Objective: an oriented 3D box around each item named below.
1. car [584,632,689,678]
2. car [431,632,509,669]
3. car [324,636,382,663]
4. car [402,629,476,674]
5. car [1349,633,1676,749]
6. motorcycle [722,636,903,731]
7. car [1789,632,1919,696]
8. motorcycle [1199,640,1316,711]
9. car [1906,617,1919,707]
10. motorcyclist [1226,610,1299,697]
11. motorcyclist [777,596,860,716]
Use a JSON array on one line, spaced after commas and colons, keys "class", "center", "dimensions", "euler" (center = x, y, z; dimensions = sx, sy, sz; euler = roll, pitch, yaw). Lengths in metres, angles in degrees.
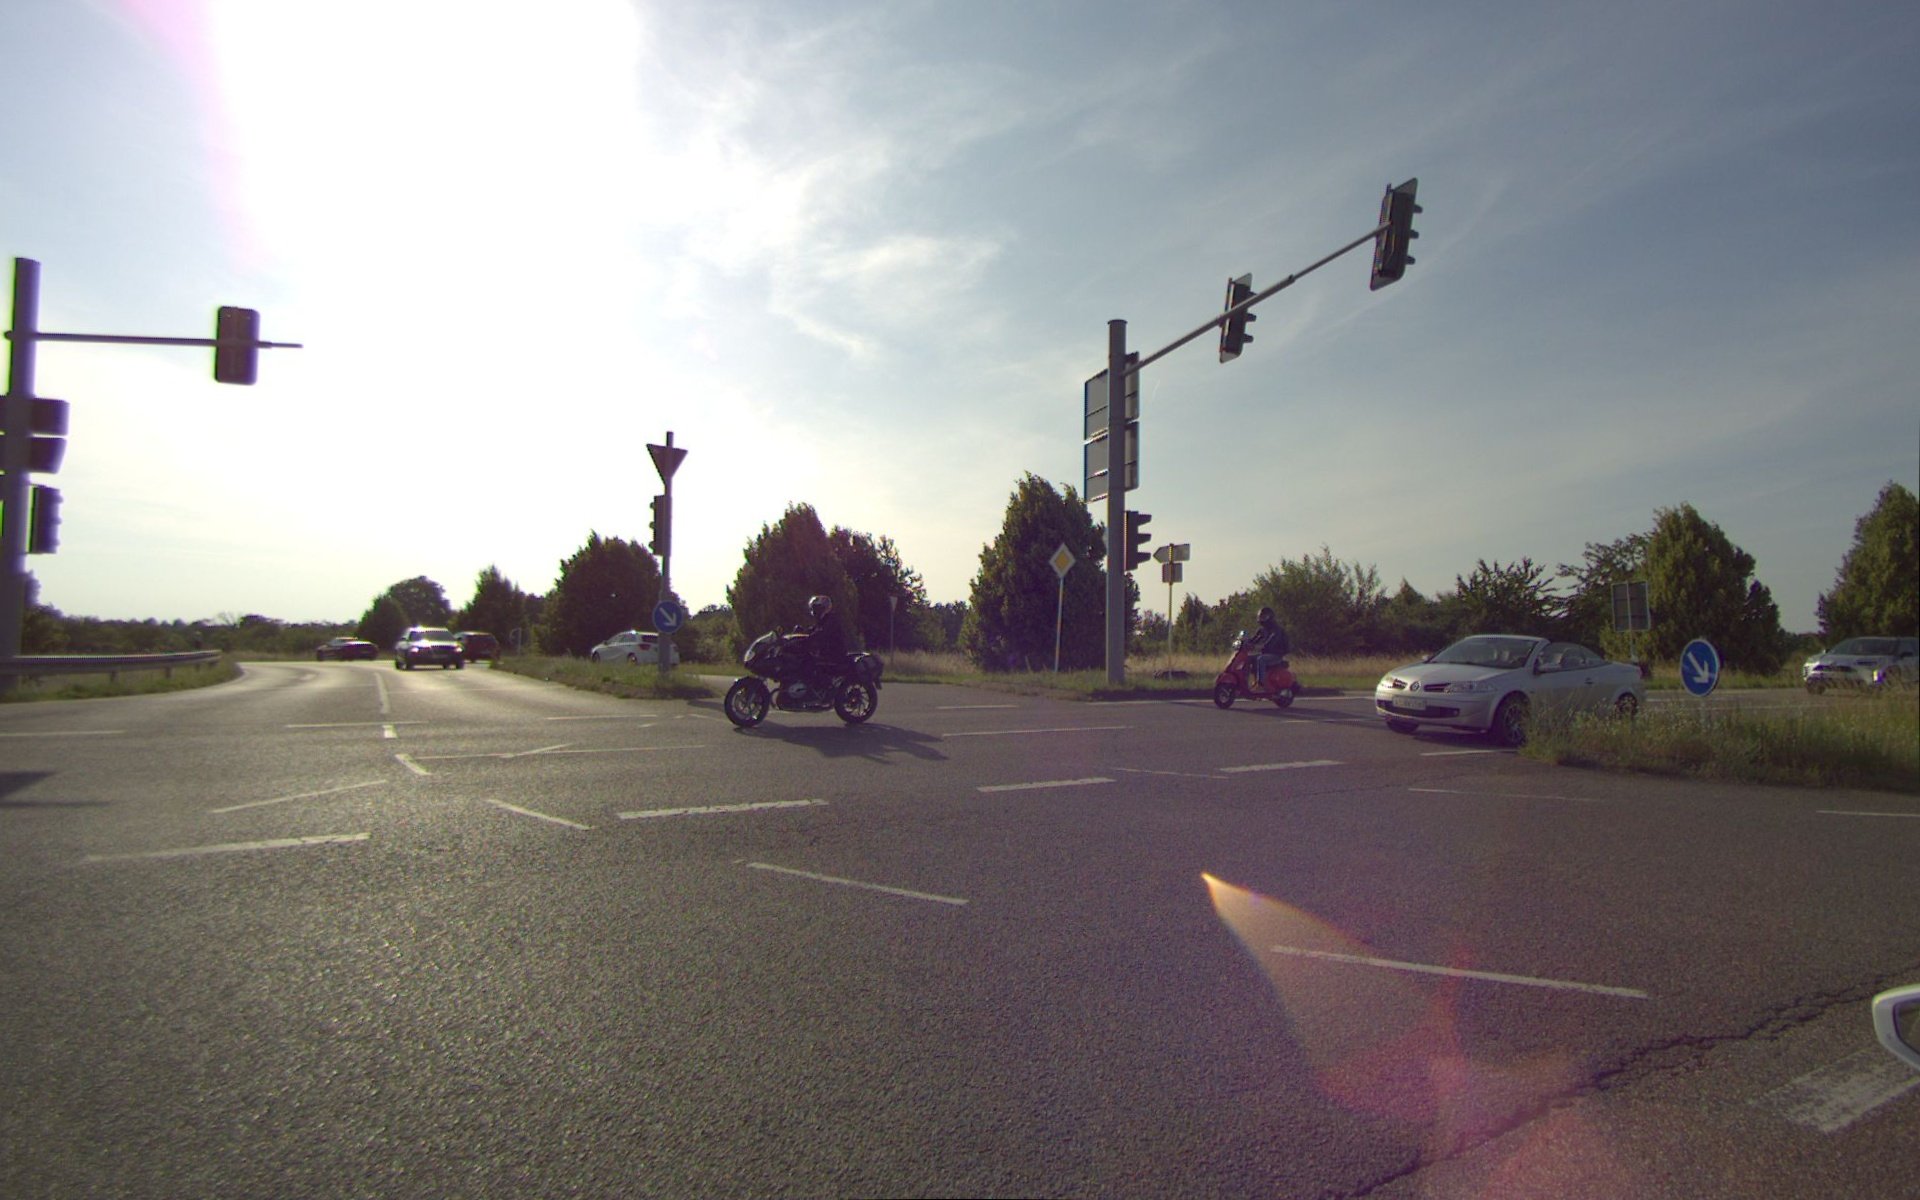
[{"class": "car", "center": [-12.048, 1.999, 37.295], "dimensions": [1.941, 1.555, 4.387], "euler": [3, -2, -45]}, {"class": "car", "center": [-23.165, 2.342, 47.434], "dimensions": [4.072, 1.607, 1.916], "euler": [0, -2, 43]}, {"class": "car", "center": [-34.331, 2.771, 56.772], "dimensions": [3.941, 1.372, 1.650], "euler": [0, -2, 41]}, {"class": "car", "center": [-18.356, 1.778, 35.303], "dimensions": [1.939, 1.416, 3.965], "euler": [2, -2, -32]}, {"class": "car", "center": [7.635, 1.185, 13.828], "dimensions": [4.392, 1.371, 1.690], "euler": [2, -1, -25]}, {"class": "motorcycle", "center": [-1.921, 1.069, 13.234], "dimensions": [2.250, 1.153, 0.698], "euler": [2, -1, -29]}, {"class": "car", "center": [23.845, 1.667, 26.363], "dimensions": [4.080, 1.545, 1.700], "euler": [2, -1, -26]}, {"class": "motorcycle", "center": [5.254, 1.316, 17.709], "dimensions": [1.995, 1.174, 0.705], "euler": [2, -1, -25]}, {"class": "car", "center": [23.407, 1.406, 21.964], "dimensions": [5.710, 1.929, 1.988], "euler": [2, -1, -25]}, {"class": "motorcyclist", "center": [5.340, 0.937, 17.757], "dimensions": [1.006, 1.484, 0.702], "euler": [2, -1, -25]}, {"class": "motorcyclist", "center": [-1.868, 0.727, 13.267], "dimensions": [0.885, 1.523, 0.695], "euler": [1, -1, -28]}]
